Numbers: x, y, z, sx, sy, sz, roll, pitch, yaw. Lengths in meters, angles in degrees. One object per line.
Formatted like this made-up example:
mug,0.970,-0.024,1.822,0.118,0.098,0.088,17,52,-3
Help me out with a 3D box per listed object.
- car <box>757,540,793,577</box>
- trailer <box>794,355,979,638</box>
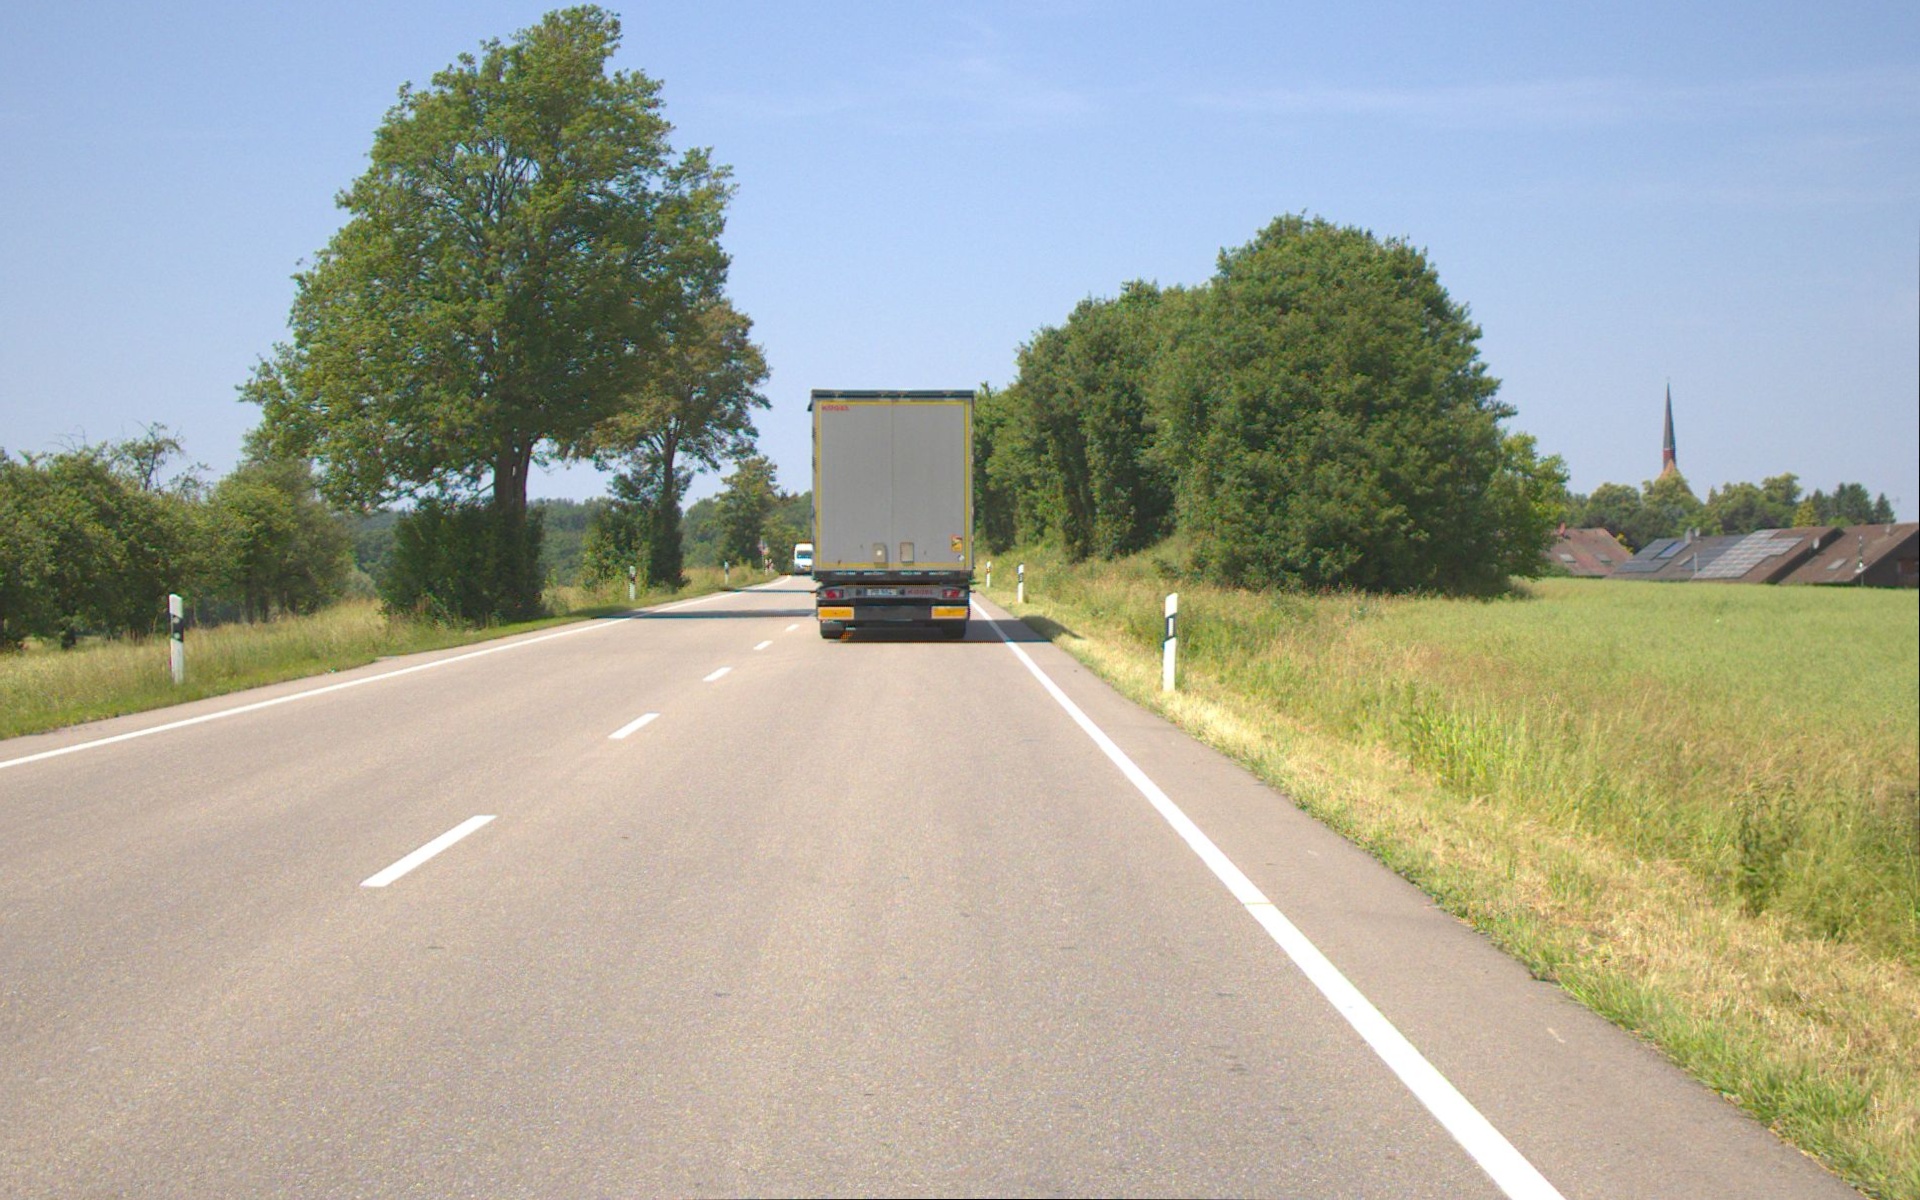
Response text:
car,-10.095,-2.274,187.774,1.873,2.007,4.075,1,1,-2
trailer,-1.278,-1.719,60.303,2.867,4.385,13.494,0,1,-1
